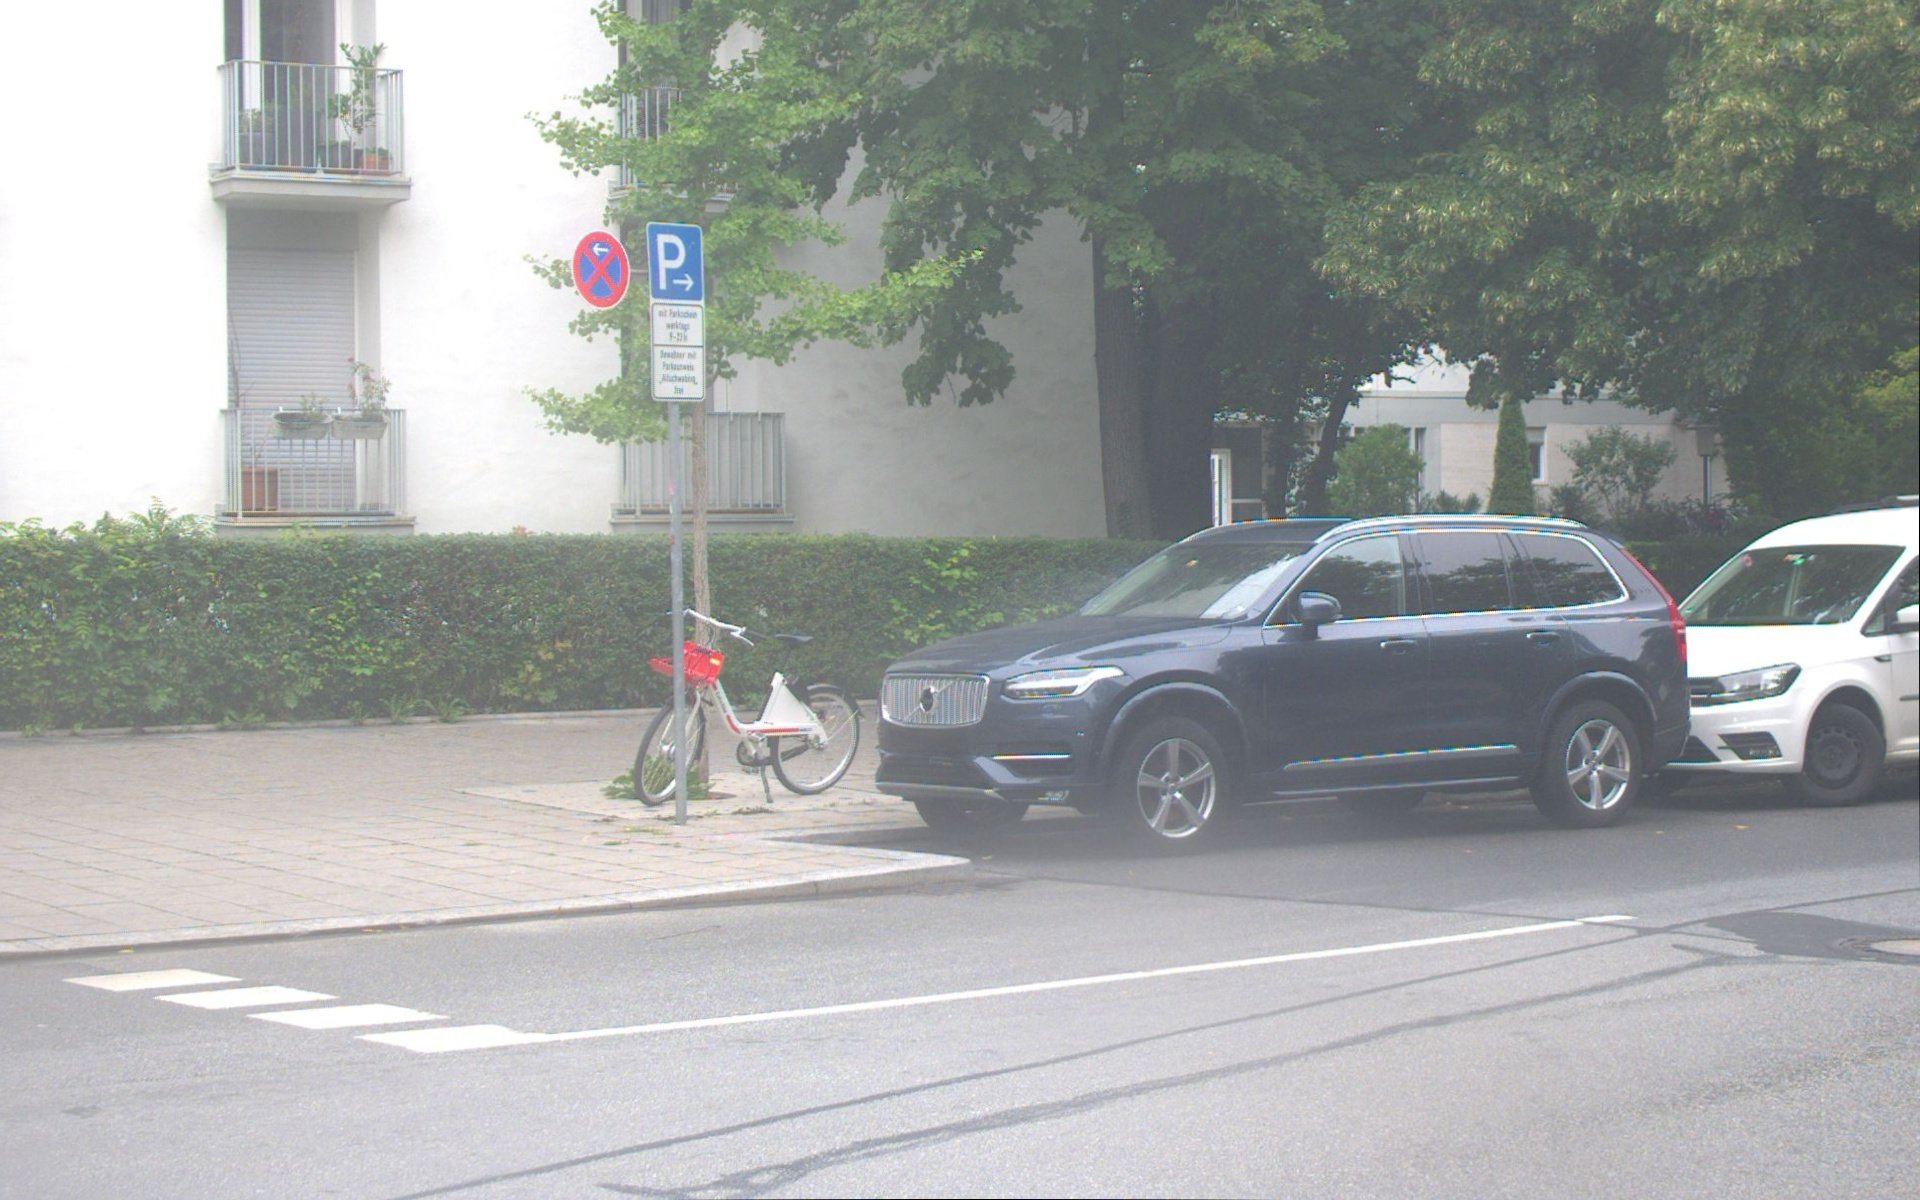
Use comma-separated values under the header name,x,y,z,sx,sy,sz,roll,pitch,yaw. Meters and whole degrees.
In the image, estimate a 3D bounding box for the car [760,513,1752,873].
name,x,y,z,sx,sy,sz,roll,pitch,yaw
car,1.709,0.391,18.749,5.288,1.713,2.090,-1,1,-35

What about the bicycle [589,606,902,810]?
name,x,y,z,sx,sy,sz,roll,pitch,yaw
bicycle,-1.217,0.595,19.820,0.753,1.081,1.780,1,2,42

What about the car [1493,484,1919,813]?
name,x,y,z,sx,sy,sz,roll,pitch,yaw
car,5.896,0.229,22.072,4.843,1.897,2.090,-1,1,-37
